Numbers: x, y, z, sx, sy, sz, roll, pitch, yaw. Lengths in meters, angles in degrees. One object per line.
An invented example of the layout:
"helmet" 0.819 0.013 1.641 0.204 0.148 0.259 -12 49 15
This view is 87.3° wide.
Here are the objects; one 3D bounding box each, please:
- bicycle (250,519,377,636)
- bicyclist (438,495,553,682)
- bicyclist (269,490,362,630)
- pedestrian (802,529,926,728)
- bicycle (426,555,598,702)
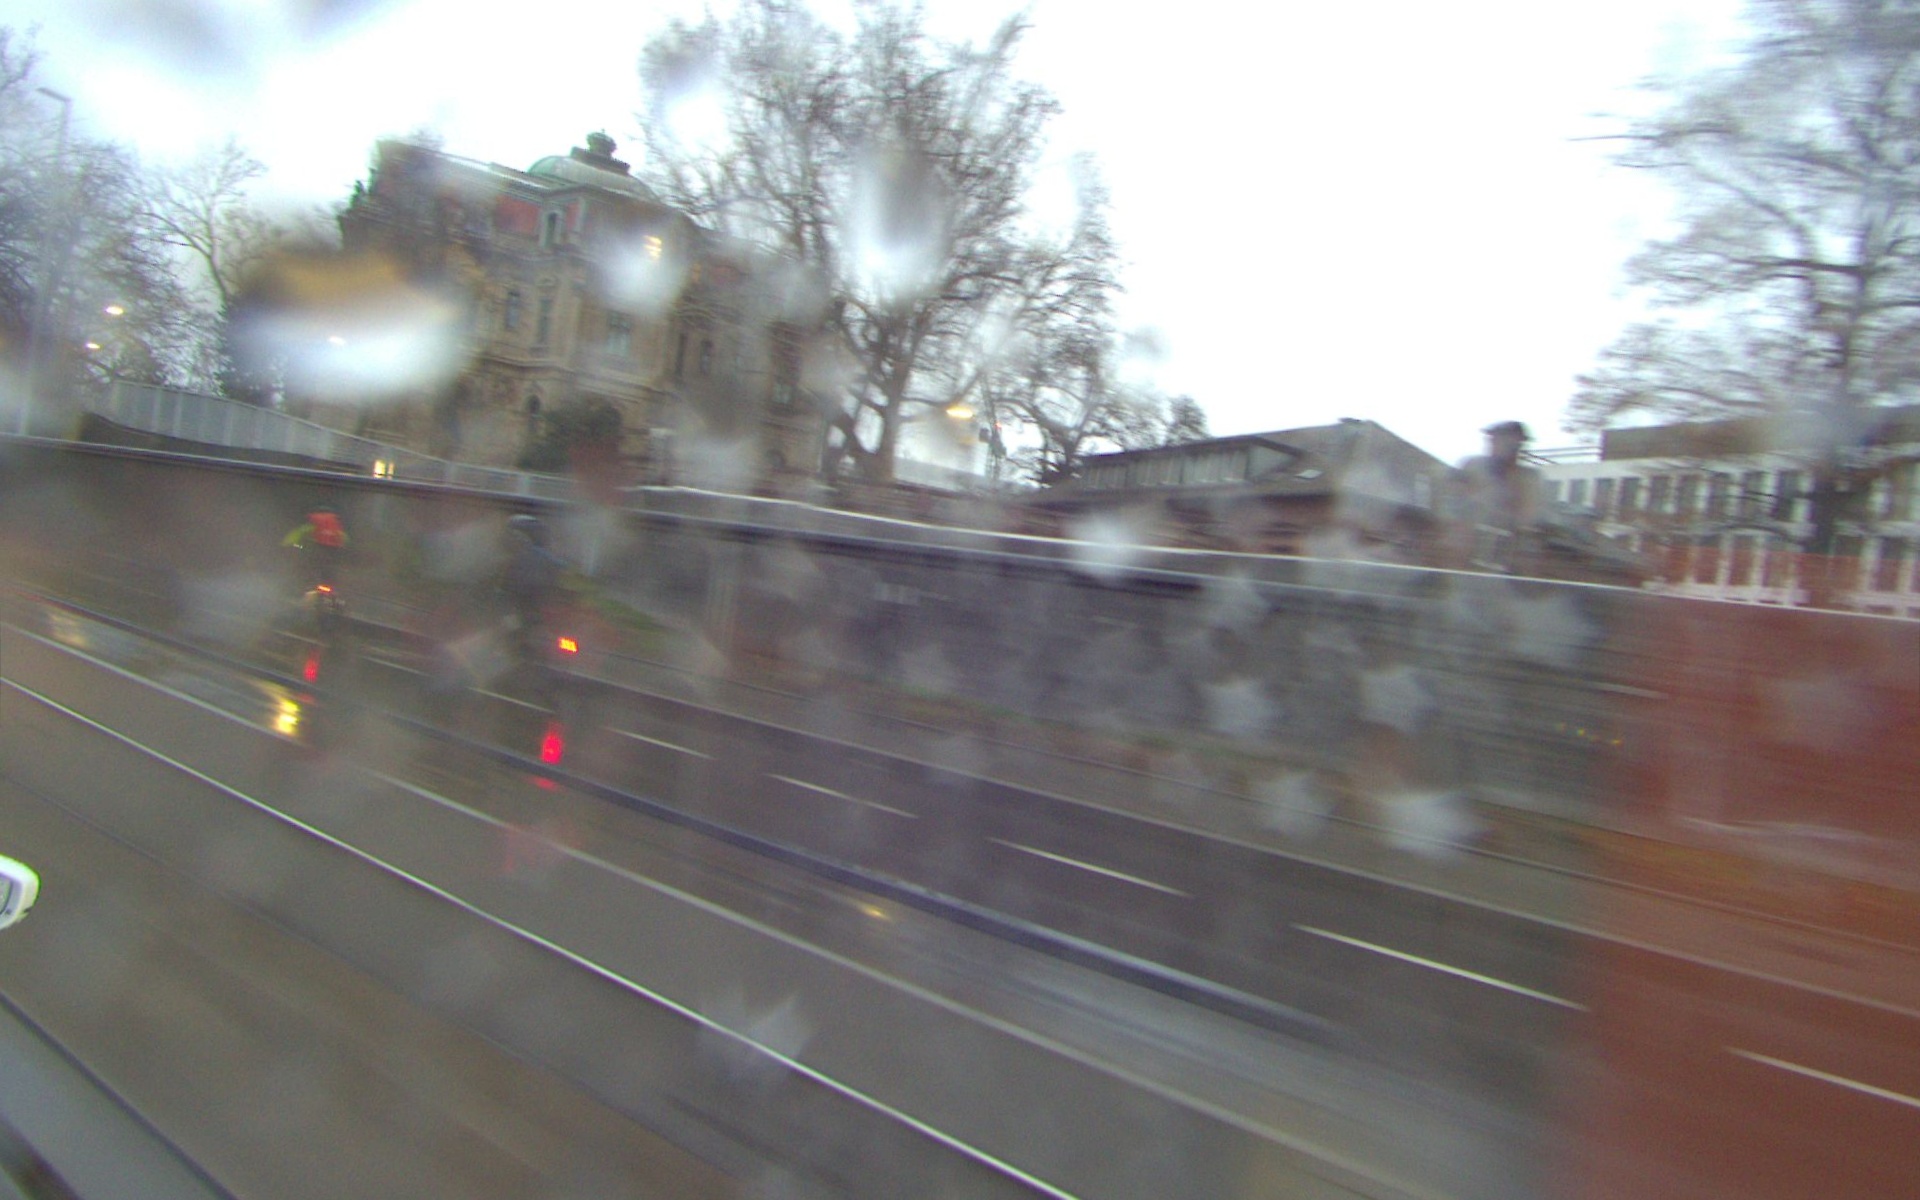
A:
"bicycle" -8.081 -0.292 12.548 1.915 1.200 0.412 9 2 30
"bicyclist" -4.765 -0.114 10.324 0.823 1.789 0.500 9 2 30
"bicyclist" -8.034 -0.501 12.537 0.823 1.611 0.500 9 2 30
"pedestrian" -0.993 0.288 10.387 0.885 1.903 0.532 9 2 31
"bicycle" -4.620 0.266 10.306 1.995 1.200 0.412 9 2 30
